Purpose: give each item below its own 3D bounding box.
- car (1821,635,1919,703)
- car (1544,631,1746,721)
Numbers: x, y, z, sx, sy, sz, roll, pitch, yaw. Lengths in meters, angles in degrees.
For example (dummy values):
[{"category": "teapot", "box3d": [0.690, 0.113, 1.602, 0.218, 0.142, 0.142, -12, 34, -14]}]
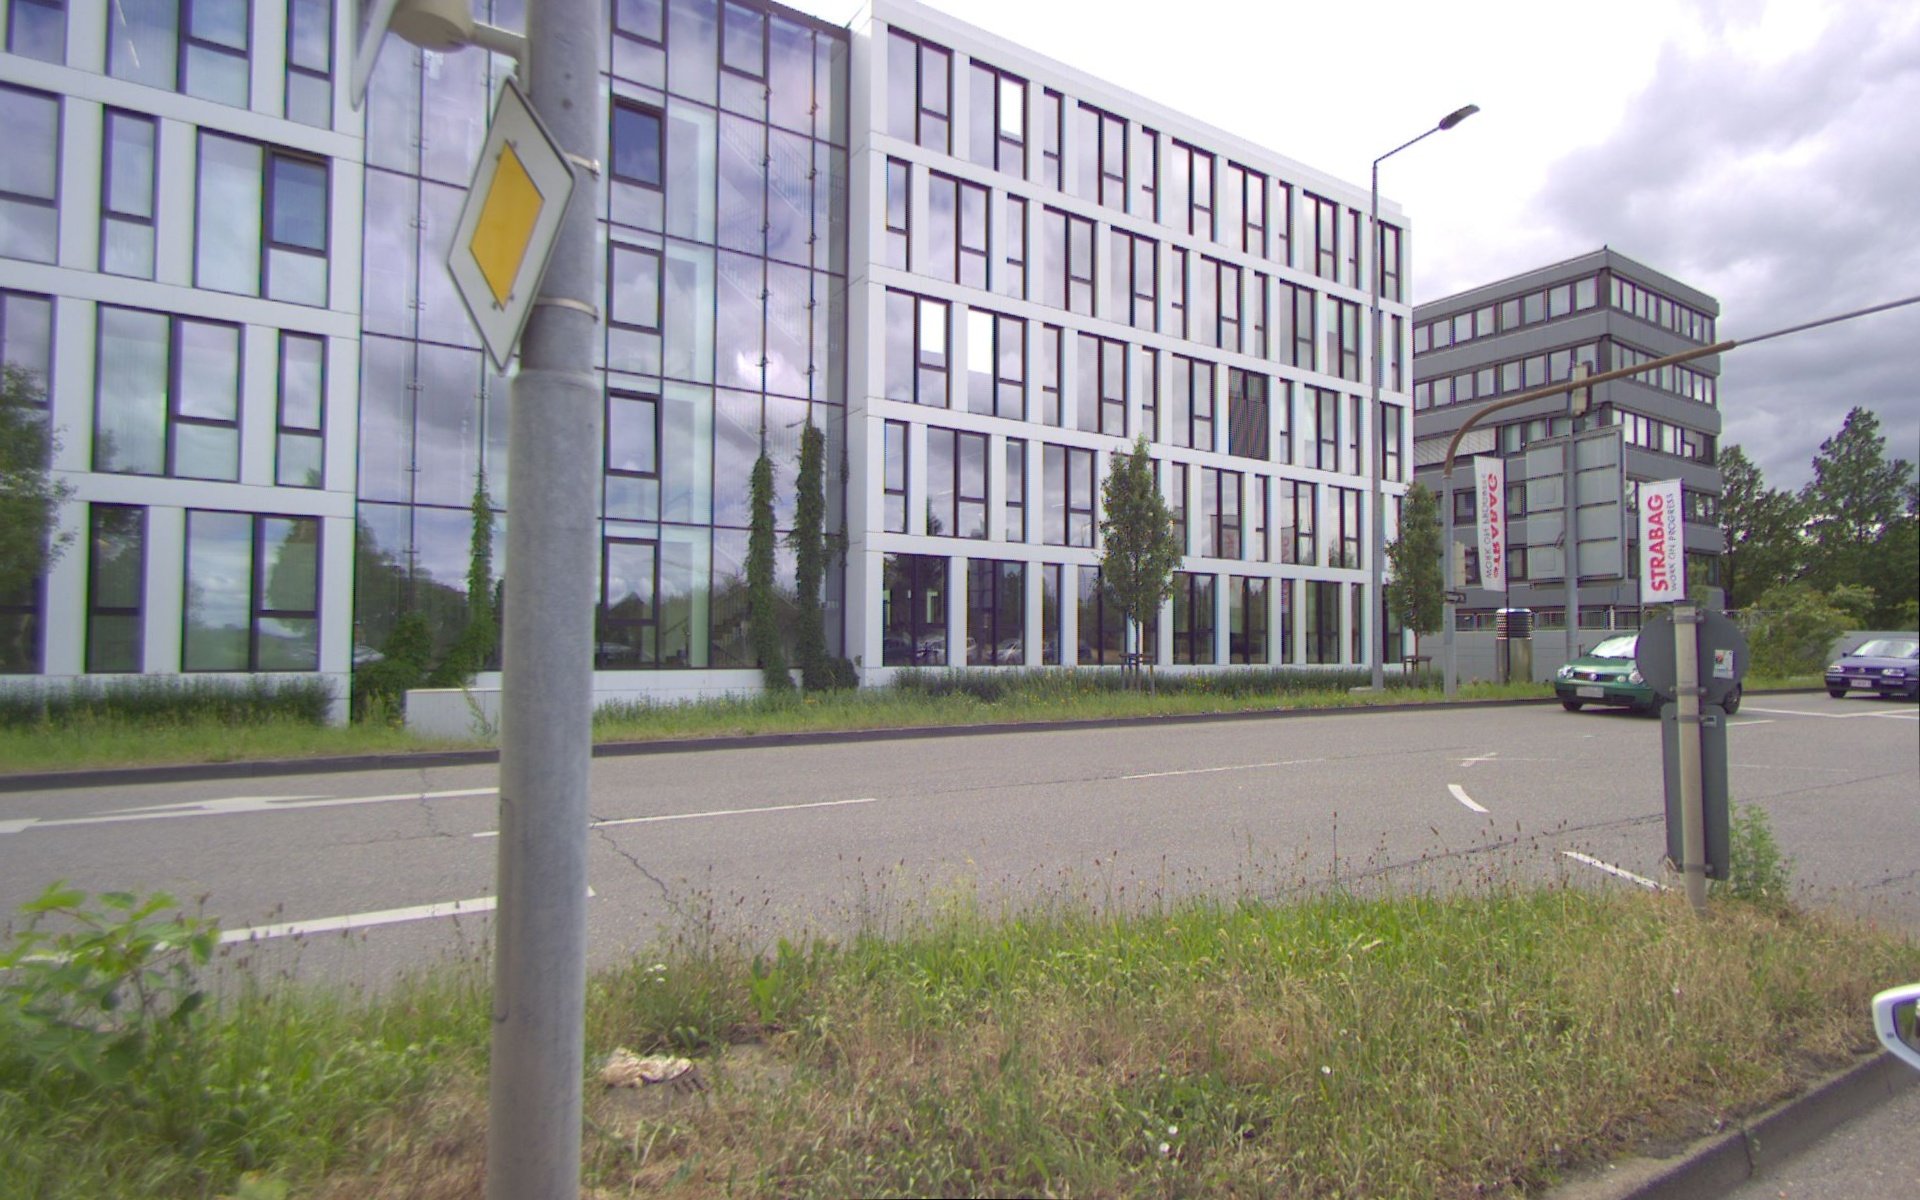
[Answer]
[{"category": "car", "box3d": [21.823, 1.546, 23.318, 3.848, 1.438, 1.547, 1, -1, -29]}, {"category": "car", "box3d": [12.433, 1.312, 18.194, 3.708, 1.451, 1.598, 1, -1, -30]}]
